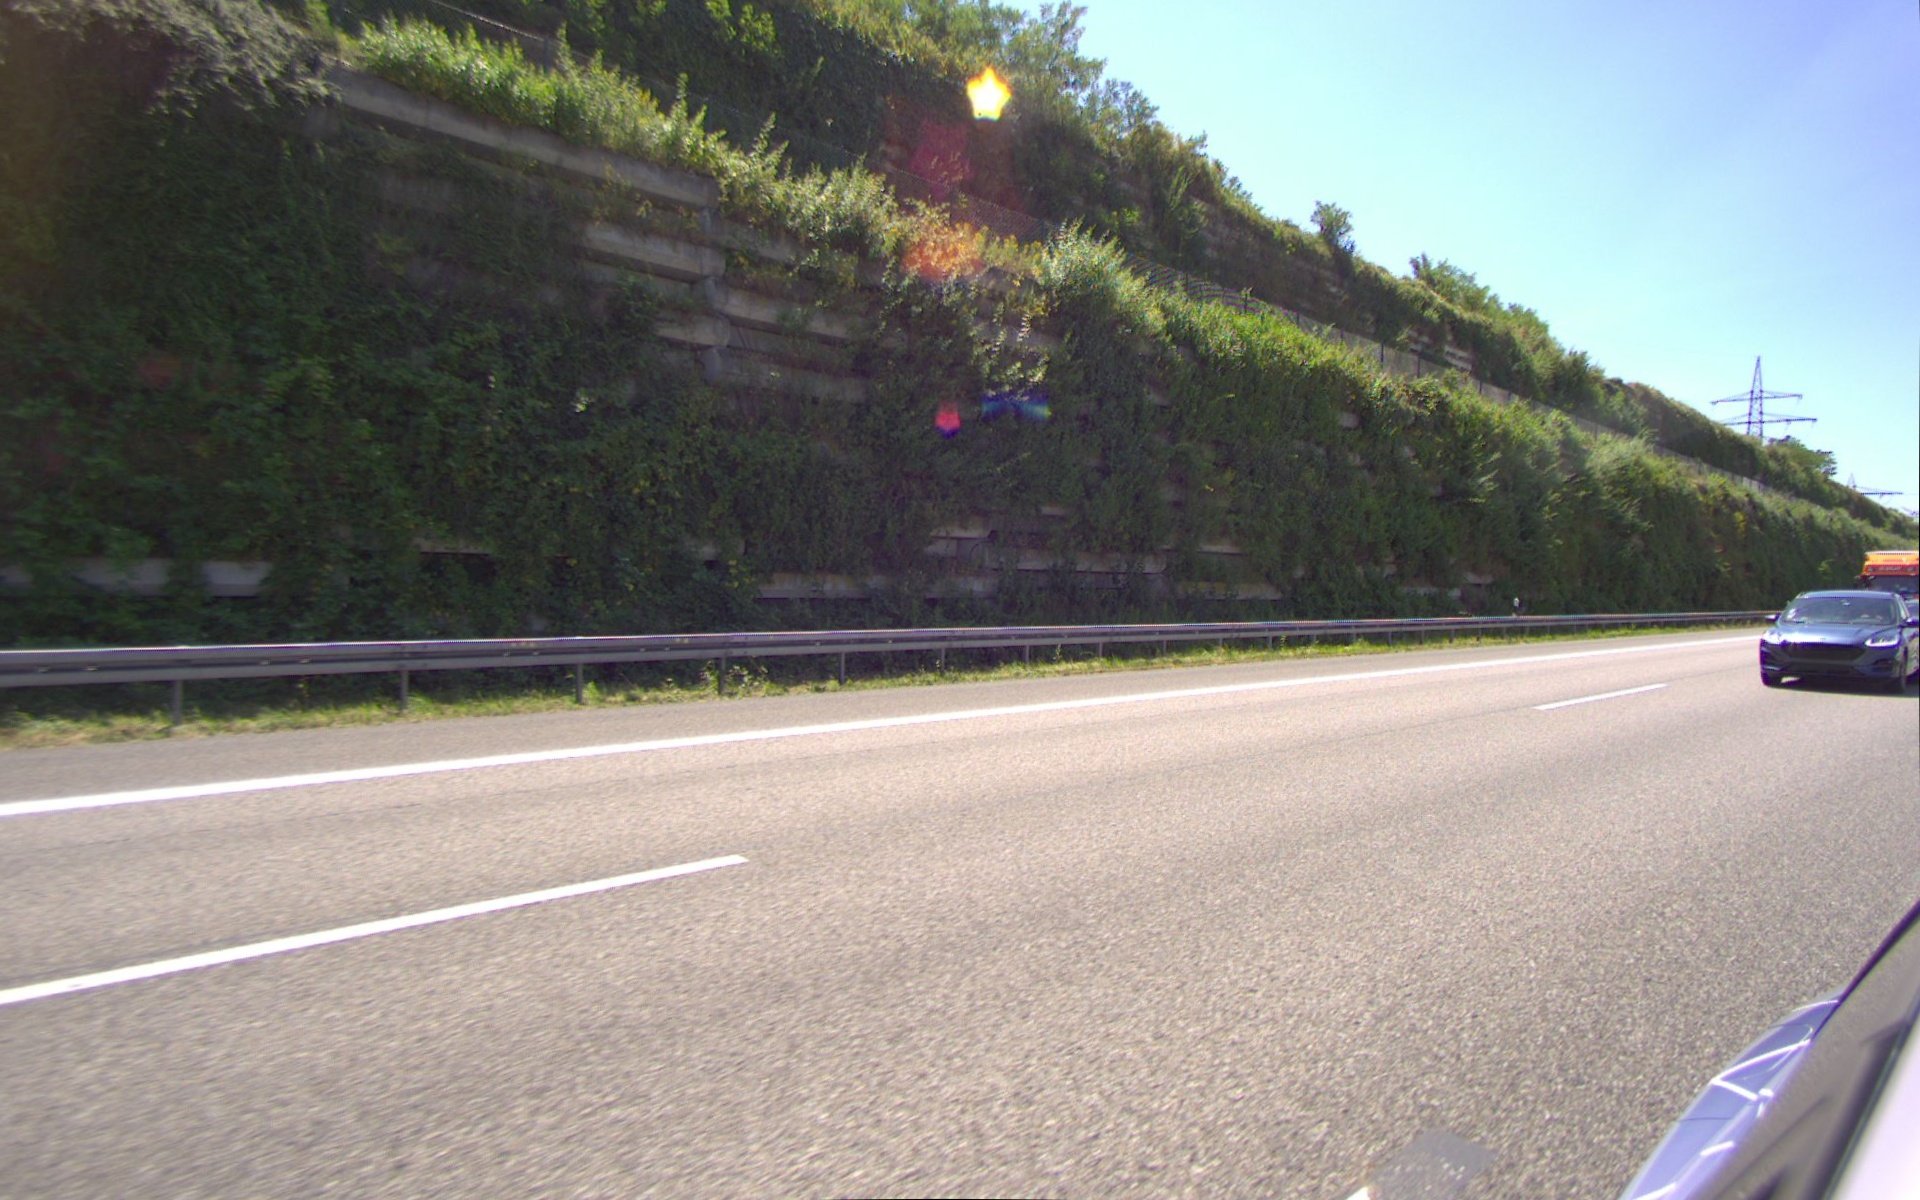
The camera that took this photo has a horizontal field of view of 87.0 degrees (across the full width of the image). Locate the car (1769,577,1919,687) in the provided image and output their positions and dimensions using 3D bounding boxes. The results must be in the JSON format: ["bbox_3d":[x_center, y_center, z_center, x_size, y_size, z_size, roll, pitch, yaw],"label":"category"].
[{"bbox_3d":[15.590,0.476,17.515,4.066,1.674,1.797,0,1,-41],"label":"car"}]

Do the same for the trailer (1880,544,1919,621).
[{"bbox_3d":[55.500,-0.918,58.042,13.370,4.055,2.649,0,1,-42],"label":"trailer"}]

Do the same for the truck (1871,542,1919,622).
[{"bbox_3d":[50.241,-0.927,53.309,6.413,4.042,2.622,0,1,-42],"label":"truck"}]

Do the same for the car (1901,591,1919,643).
[{"bbox_3d":[29.971,0.514,30.672,3.926,1.544,1.752,0,2,-42],"label":"car"}]
